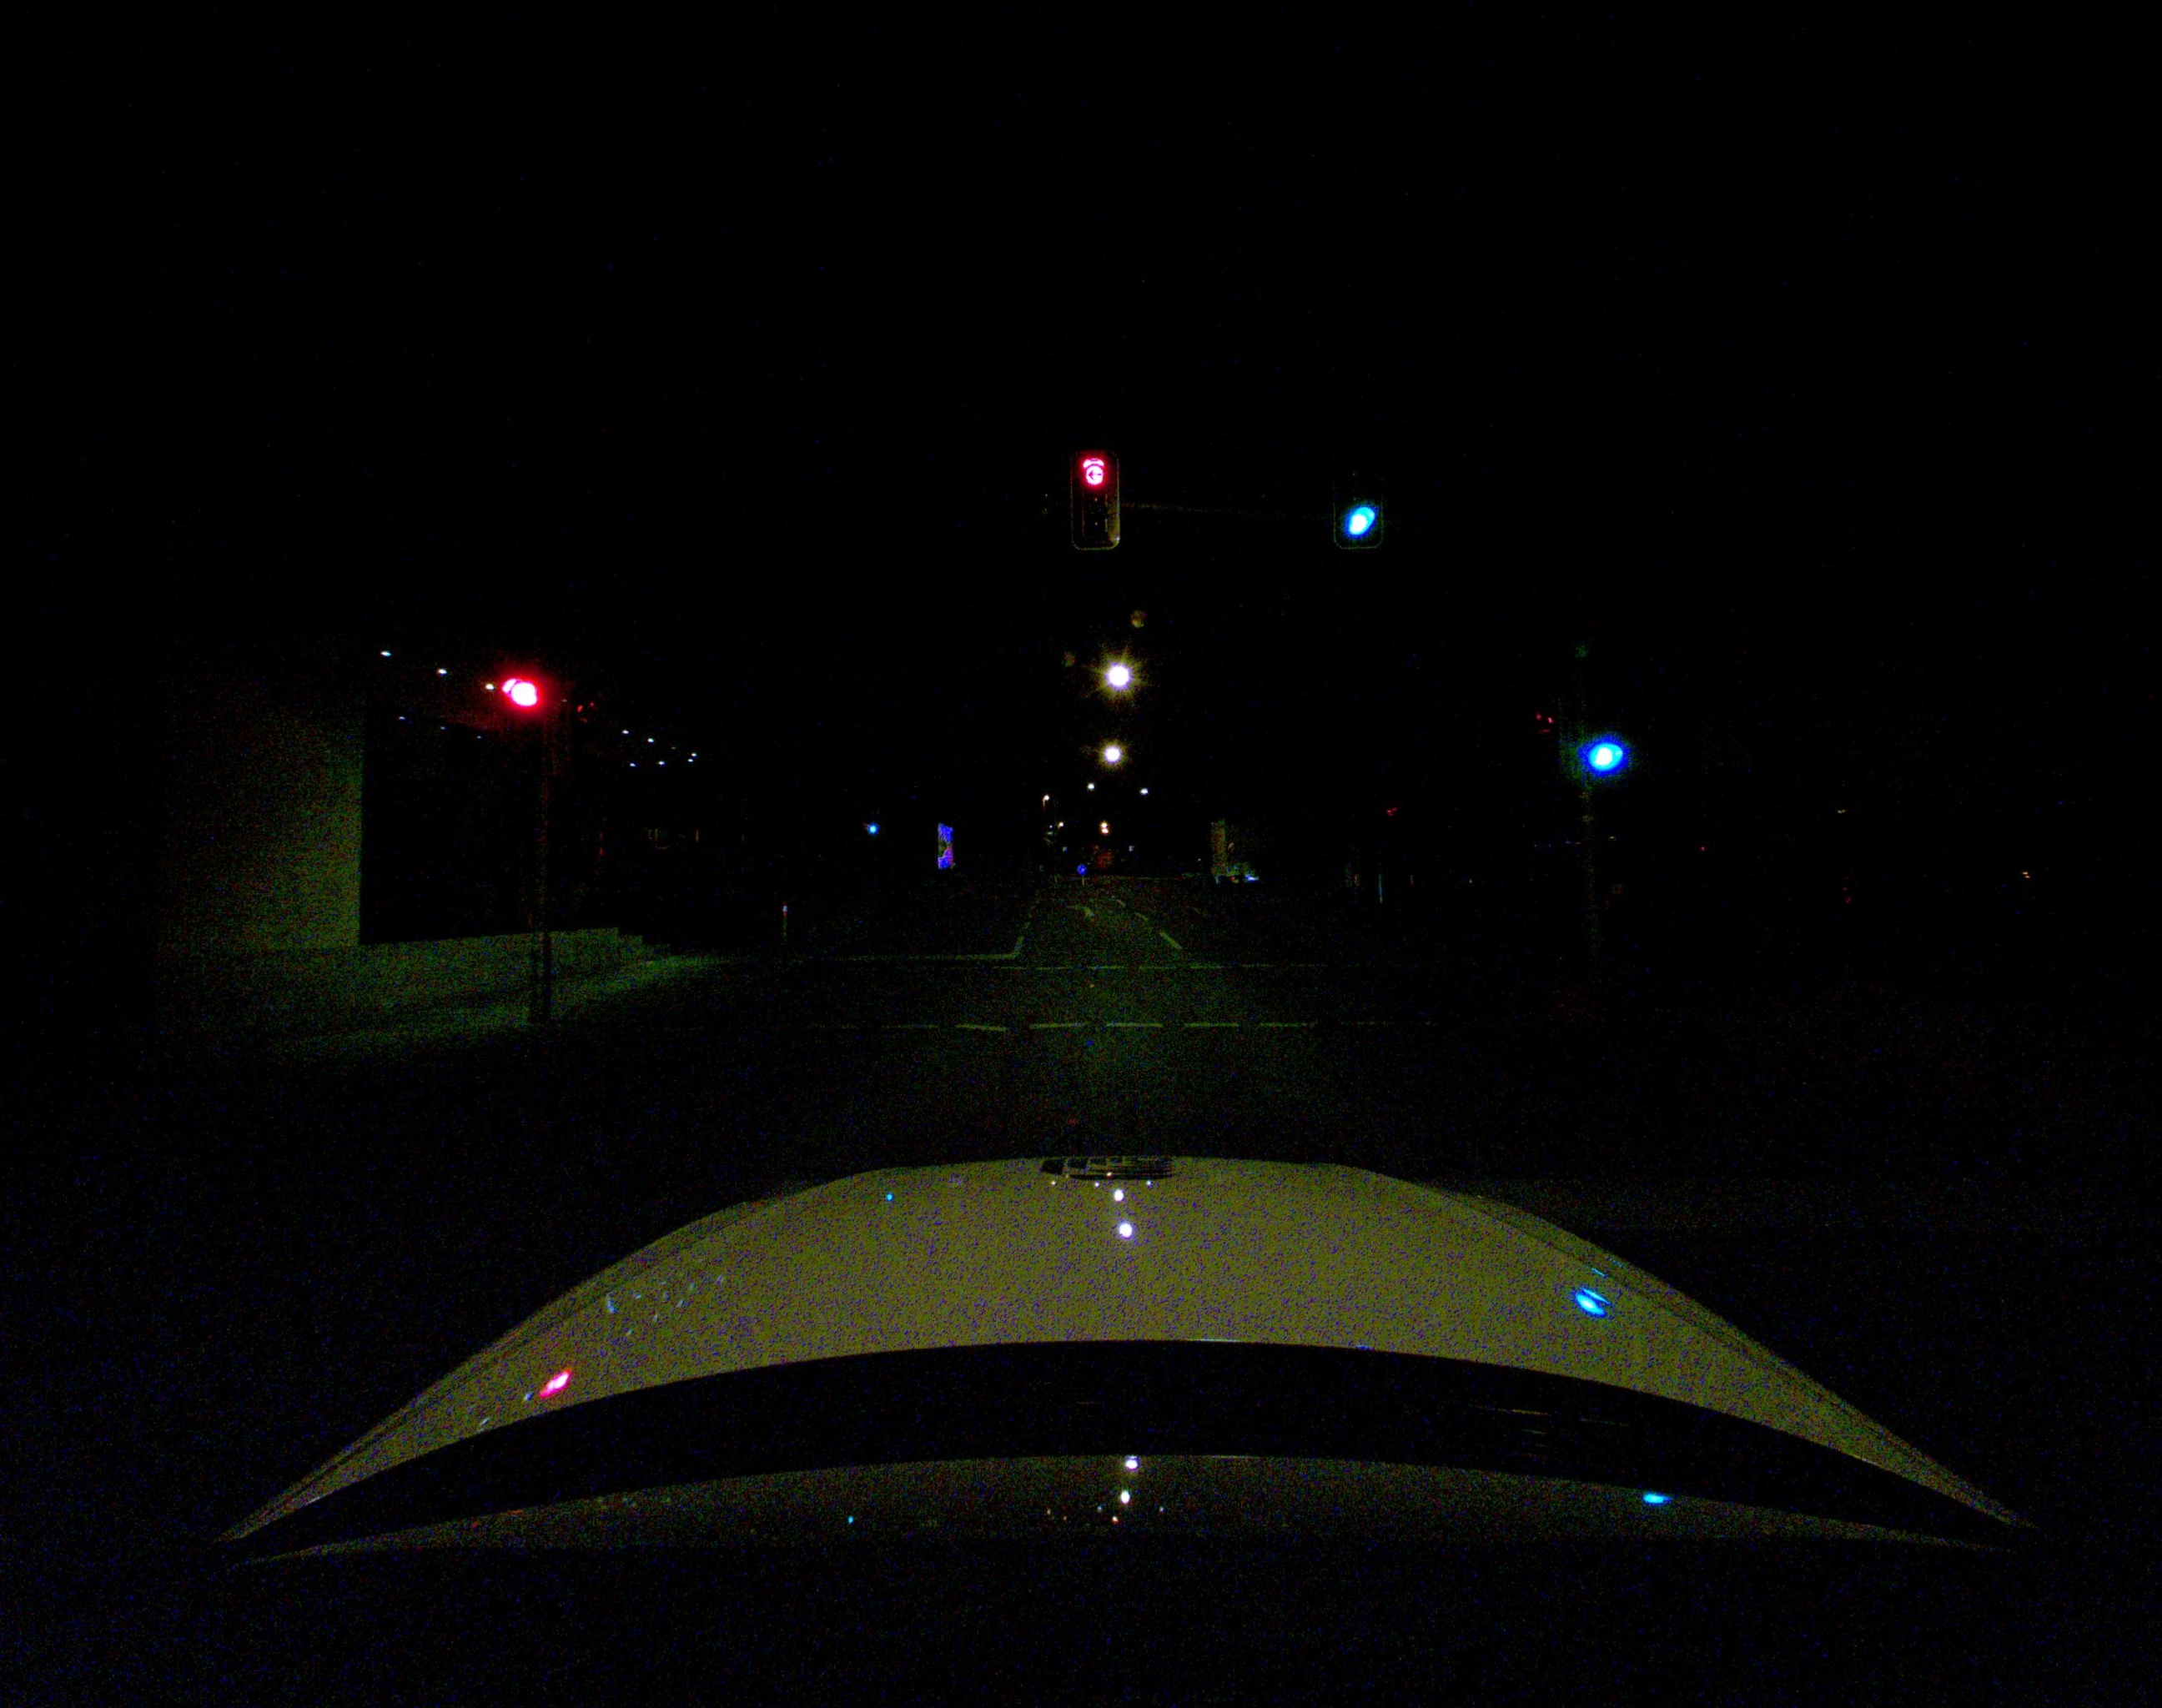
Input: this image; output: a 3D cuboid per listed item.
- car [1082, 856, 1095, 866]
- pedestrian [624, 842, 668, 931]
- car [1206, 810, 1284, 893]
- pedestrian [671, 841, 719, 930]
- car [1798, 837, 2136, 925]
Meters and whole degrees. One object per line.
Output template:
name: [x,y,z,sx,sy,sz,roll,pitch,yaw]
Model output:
car: [1.246,1.162,134.524,1.901,1.557,3.906,0,-1,2]
pedestrian: [-8.604,0.640,16.122,0.568,1.731,0.544,0,-1,1]
car: [6.765,-0.082,34.241,2.287,3.093,5.845,-2,-1,3]
pedestrian: [-7.937,0.638,16.749,0.568,1.778,0.737,1,-1,1]
car: [17.458,0.564,16.284,4.342,1.560,1.807,-2,-3,8]
